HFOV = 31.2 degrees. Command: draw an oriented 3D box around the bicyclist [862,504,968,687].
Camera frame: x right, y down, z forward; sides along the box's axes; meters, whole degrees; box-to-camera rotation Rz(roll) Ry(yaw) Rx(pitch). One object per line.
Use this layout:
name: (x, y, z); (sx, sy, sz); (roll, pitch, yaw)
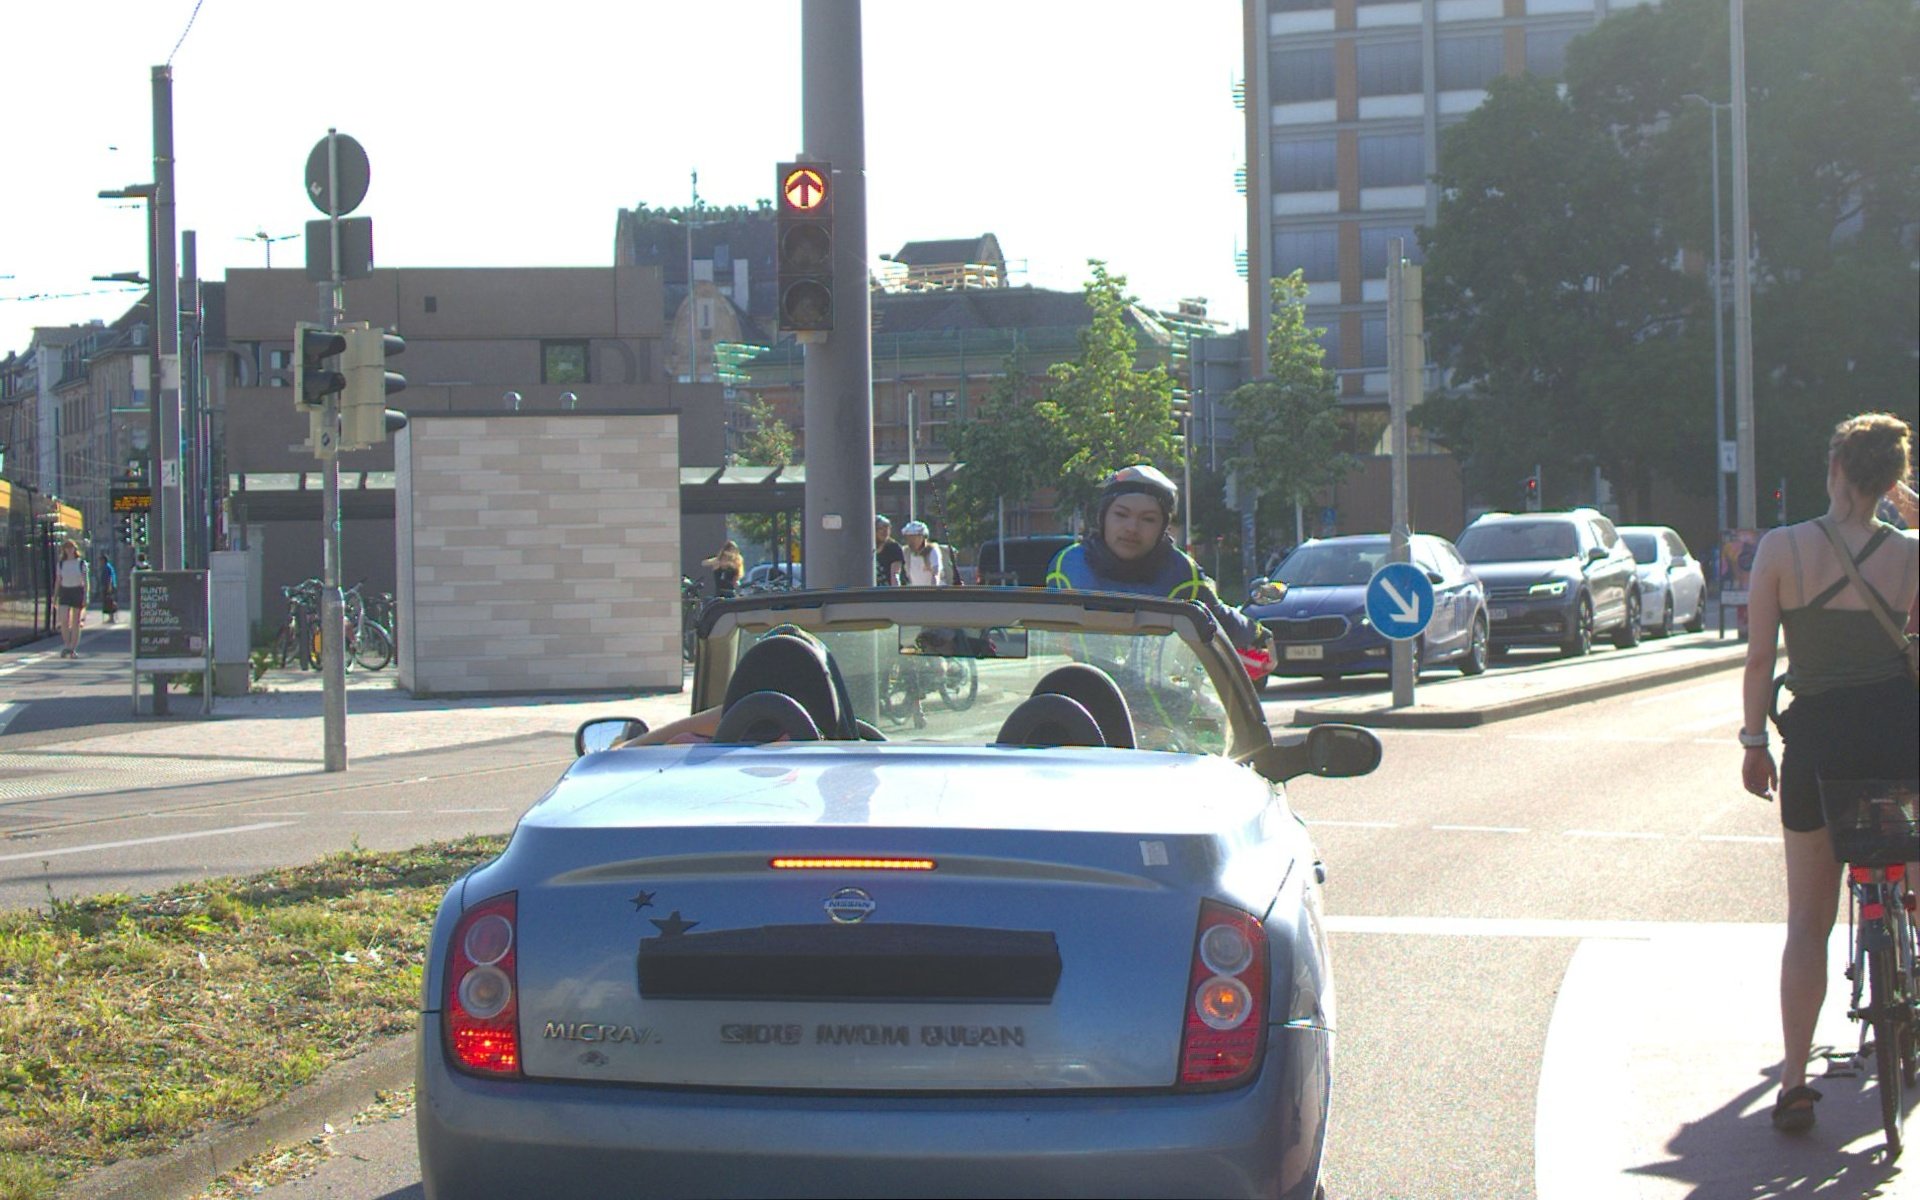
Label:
bicyclist: (-0.408, -0.047, 31.489); (0.709, 1.651, 0.742); (-1, 1, 22)

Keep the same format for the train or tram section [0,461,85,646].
train or tram section: (-20.507, -0.993, 72.672); (3.011, 3.584, 12.203); (1, 1, -10)

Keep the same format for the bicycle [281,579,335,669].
bicycle: (-8.364, 0.299, 44.072); (0.606, 1.111, 1.897); (1, 1, -12)

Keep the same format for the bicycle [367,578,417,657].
bicycle: (-8.329, 0.244, 50.341); (0.606, 1.111, 1.897); (1, 1, -12)

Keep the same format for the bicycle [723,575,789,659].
bicycle: (-2.806, 0.224, 47.198); (0.606, 1.111, 1.897); (1, 1, -12)

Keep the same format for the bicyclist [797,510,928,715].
bicyclist: (-0.812, 0.098, 28.783); (0.709, 1.651, 0.900); (-3, 0, 22)

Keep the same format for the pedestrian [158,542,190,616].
pedestrian: (-18.727, -0.492, 81.913); (0.637, 1.743, 0.736); (-1, 1, -19)

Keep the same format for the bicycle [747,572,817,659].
bicycle: (-2.355, 0.190, 45.266); (0.606, 1.111, 1.897); (1, 1, -12)

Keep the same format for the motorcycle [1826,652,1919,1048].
motorcycle: (3.174, 0.745, 11.081); (0.614, 1.094, 2.358); (1, 1, 17)

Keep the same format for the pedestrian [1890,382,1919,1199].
pedestrian: (2.490, 0.455, 7.399); (0.806, 1.862, 0.956); (1, 0, 8)

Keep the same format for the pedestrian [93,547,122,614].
pedestrian: (-22.294, -0.515, 89.928); (0.604, 1.743, 0.832); (-1, 1, -8)

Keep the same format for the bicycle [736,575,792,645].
bicycle: (-3.245, 0.157, 56.751); (0.606, 1.111, 1.897); (1, 1, -12)

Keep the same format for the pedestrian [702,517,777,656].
pedestrian: (-3.004, -0.181, 46.730); (0.900, 1.862, 0.687); (1, 0, -12)

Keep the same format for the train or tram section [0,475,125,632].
train or tram section: (-22.575, -1.141, 84.598); (3.039, 3.584, 12.055); (1, 1, -9)

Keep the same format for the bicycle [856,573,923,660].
bicycle: (-0.946, 0.207, 45.568); (0.606, 1.111, 1.897); (1, 1, -10)

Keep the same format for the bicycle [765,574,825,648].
bicycle: (-2.560, 0.161, 53.245); (0.606, 1.111, 1.897); (1, 1, -12)

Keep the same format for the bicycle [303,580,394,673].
bicycle: (-7.544, 0.317, 42.467); (0.607, 1.111, 1.896); (1, 1, 5)

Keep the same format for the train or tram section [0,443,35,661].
train or tram section: (-18.165, -0.853, 60.682); (2.880, 3.584, 12.203); (1, 1, -12)

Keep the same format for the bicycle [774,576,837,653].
bicycle: (-2.312, 0.207, 51.273); (0.606, 1.111, 1.897); (1, 1, -12)

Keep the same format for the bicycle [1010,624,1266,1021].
bicycle: (0.658, 0.698, 11.903); (0.608, 1.187, 2.414); (1, 1, 9)

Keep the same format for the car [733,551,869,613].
car: (-4.120, -0.457, 88.690); (1.640, 1.555, 3.599); (-2, 1, -39)

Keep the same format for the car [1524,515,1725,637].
car: (9.002, -0.347, 46.331); (1.697, 1.555, 3.974); (-1, 1, 25)

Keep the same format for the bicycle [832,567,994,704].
bicycle: (-0.407, 0.309, 31.467); (0.675, 1.176, 2.181); (-1, 1, 22)

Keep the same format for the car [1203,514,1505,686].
car: (3.916, -0.014, 33.635); (1.739, 1.568, 3.919); (1, 1, 25)

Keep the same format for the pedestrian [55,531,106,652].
pedestrian: (-12.879, -0.124, 50.323); (0.637, 1.743, 0.572); (-1, 1, -19)

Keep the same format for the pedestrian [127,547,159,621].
pedestrian: (-19.394, -0.376, 81.571); (0.637, 1.743, 0.736); (-1, 1, -19)

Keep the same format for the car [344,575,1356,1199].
car: (0.033, 0.677, 7.694); (1.660, 1.436, 4.153); (1, 1, 6)

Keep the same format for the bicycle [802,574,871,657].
bicycle: (-1.720, 0.203, 47.585); (0.606, 1.111, 1.897); (1, 1, -12)

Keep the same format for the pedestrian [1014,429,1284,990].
pedestrian: (0.674, 0.360, 11.966); (0.833, 1.862, 0.920); (1, 0, 8)

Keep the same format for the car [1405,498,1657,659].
car: (6.662, -0.272, 39.732); (1.763, 1.700, 4.525); (-2, 0, 24)

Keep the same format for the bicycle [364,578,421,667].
bicycle: (-7.339, 0.277, 44.403); (0.606, 1.111, 1.897); (1, 1, -12)

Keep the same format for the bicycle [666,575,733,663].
bicycle: (-3.429, 0.236, 45.125); (0.606, 1.111, 1.897); (1, 1, -12)

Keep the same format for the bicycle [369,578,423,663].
bicycle: (-7.628, 0.266, 46.466); (0.606, 1.111, 1.897); (1, 1, -12)

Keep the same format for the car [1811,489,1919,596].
car: (17.540, -1.104, 65.608); (1.911, 1.938, 4.701); (-1, 1, 21)

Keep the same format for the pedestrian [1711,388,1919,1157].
pedestrian: (2.287, 0.414, 8.786); (0.659, 1.862, 0.872); (1, 0, 15)

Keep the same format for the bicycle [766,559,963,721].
bicycle: (-0.772, 0.312, 28.854); (0.675, 1.246, 2.454); (-3, 0, 22)

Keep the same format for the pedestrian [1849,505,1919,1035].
pedestrian: (3.133, 0.511, 10.816); (0.588, 1.593, 1.024); (1, 0, 17)

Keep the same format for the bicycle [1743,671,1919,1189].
bicycle: (2.368, 0.791, 8.979); (0.564, 1.147, 1.948); (1, 1, 14)

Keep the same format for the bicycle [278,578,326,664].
bicycle: (-8.798, 0.275, 45.997); (0.606, 1.111, 1.897); (1, 1, -11)
